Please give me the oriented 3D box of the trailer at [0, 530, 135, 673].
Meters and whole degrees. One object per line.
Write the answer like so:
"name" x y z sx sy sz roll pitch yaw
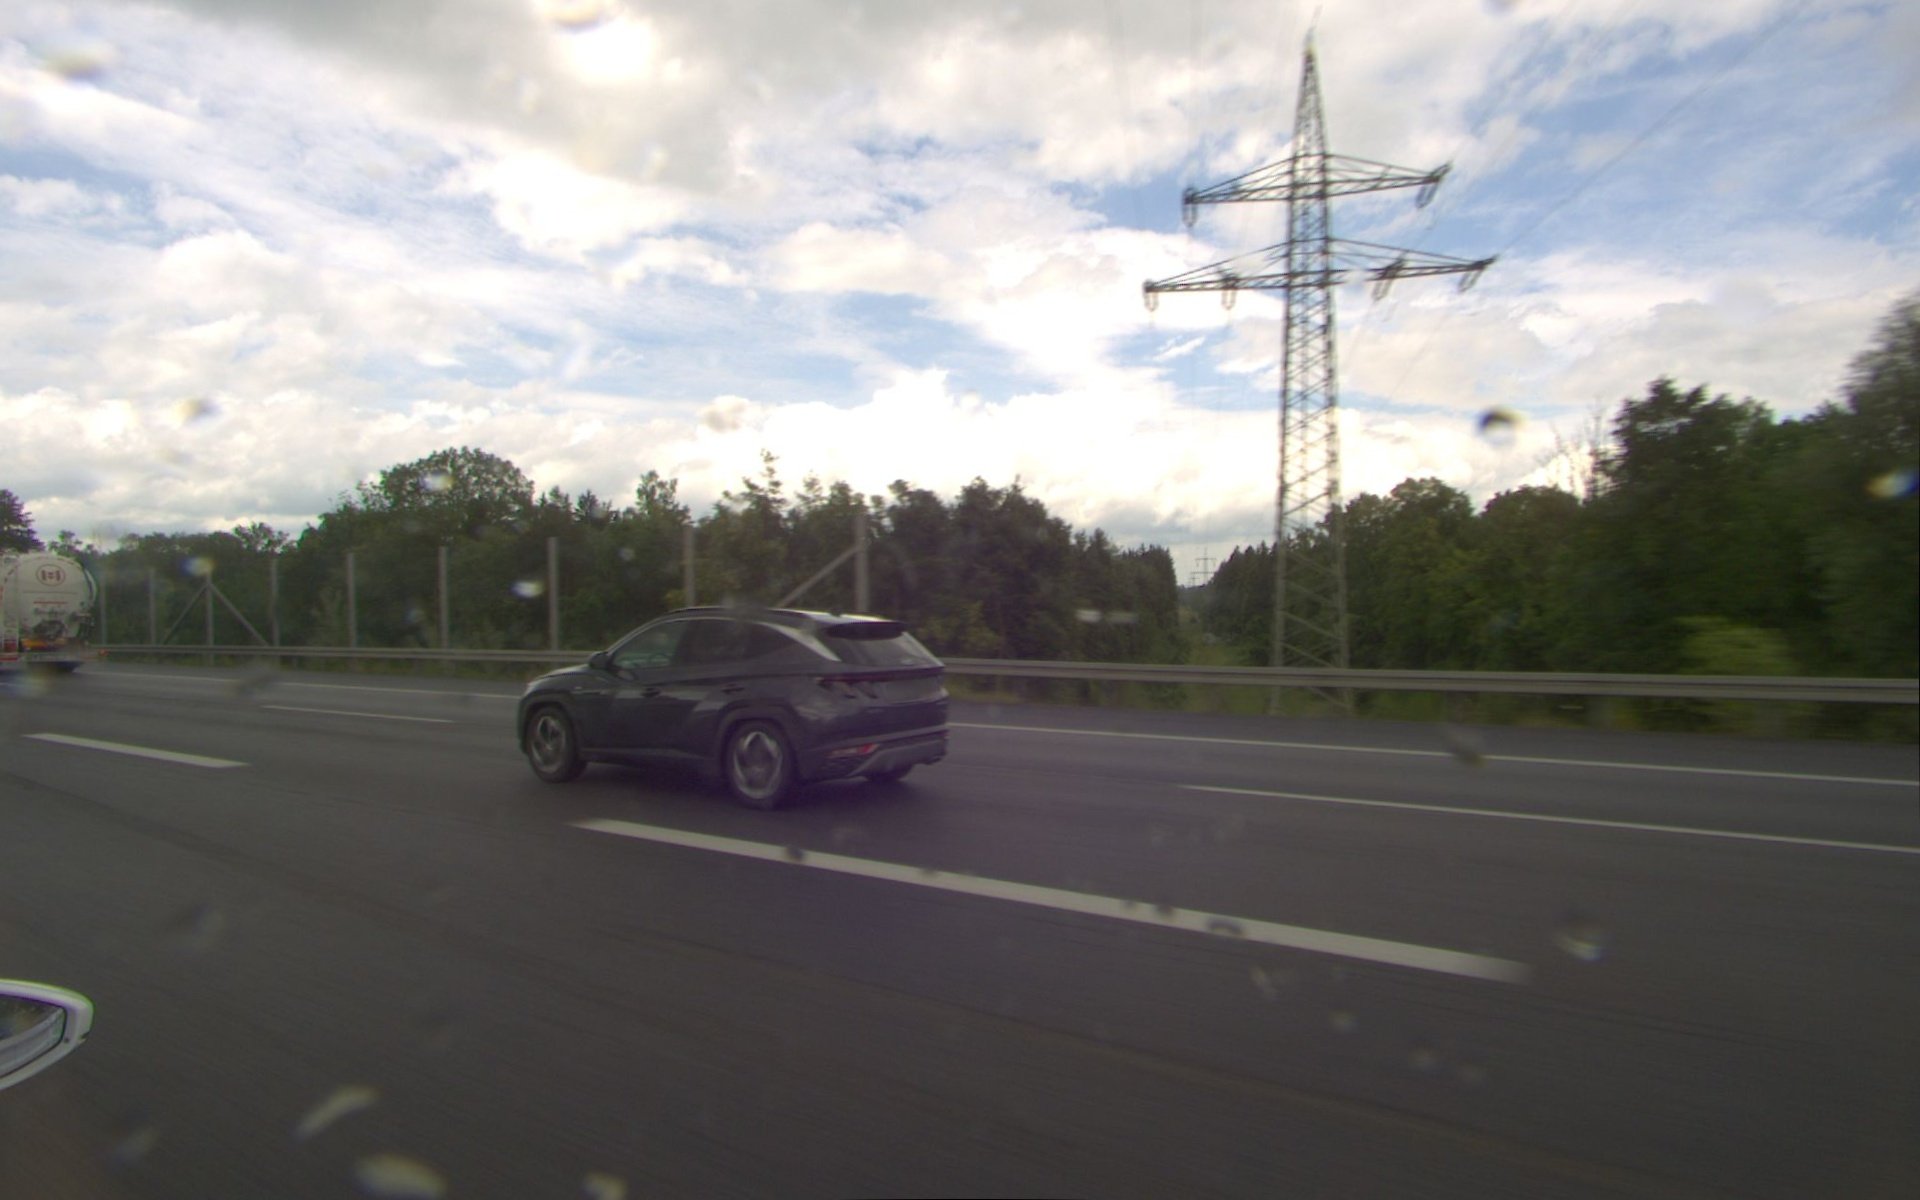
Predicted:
"trailer" -32.612 0.108 34.284 11.668 4.230 3.327 0 -1 33

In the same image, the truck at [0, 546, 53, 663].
"truck" -37.531 0.185 37.437 8.153 4.133 3.327 0 -1 33

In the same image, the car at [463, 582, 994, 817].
"car" -2.312 0.794 9.520 4.935 1.721 2.042 -1 -2 32
